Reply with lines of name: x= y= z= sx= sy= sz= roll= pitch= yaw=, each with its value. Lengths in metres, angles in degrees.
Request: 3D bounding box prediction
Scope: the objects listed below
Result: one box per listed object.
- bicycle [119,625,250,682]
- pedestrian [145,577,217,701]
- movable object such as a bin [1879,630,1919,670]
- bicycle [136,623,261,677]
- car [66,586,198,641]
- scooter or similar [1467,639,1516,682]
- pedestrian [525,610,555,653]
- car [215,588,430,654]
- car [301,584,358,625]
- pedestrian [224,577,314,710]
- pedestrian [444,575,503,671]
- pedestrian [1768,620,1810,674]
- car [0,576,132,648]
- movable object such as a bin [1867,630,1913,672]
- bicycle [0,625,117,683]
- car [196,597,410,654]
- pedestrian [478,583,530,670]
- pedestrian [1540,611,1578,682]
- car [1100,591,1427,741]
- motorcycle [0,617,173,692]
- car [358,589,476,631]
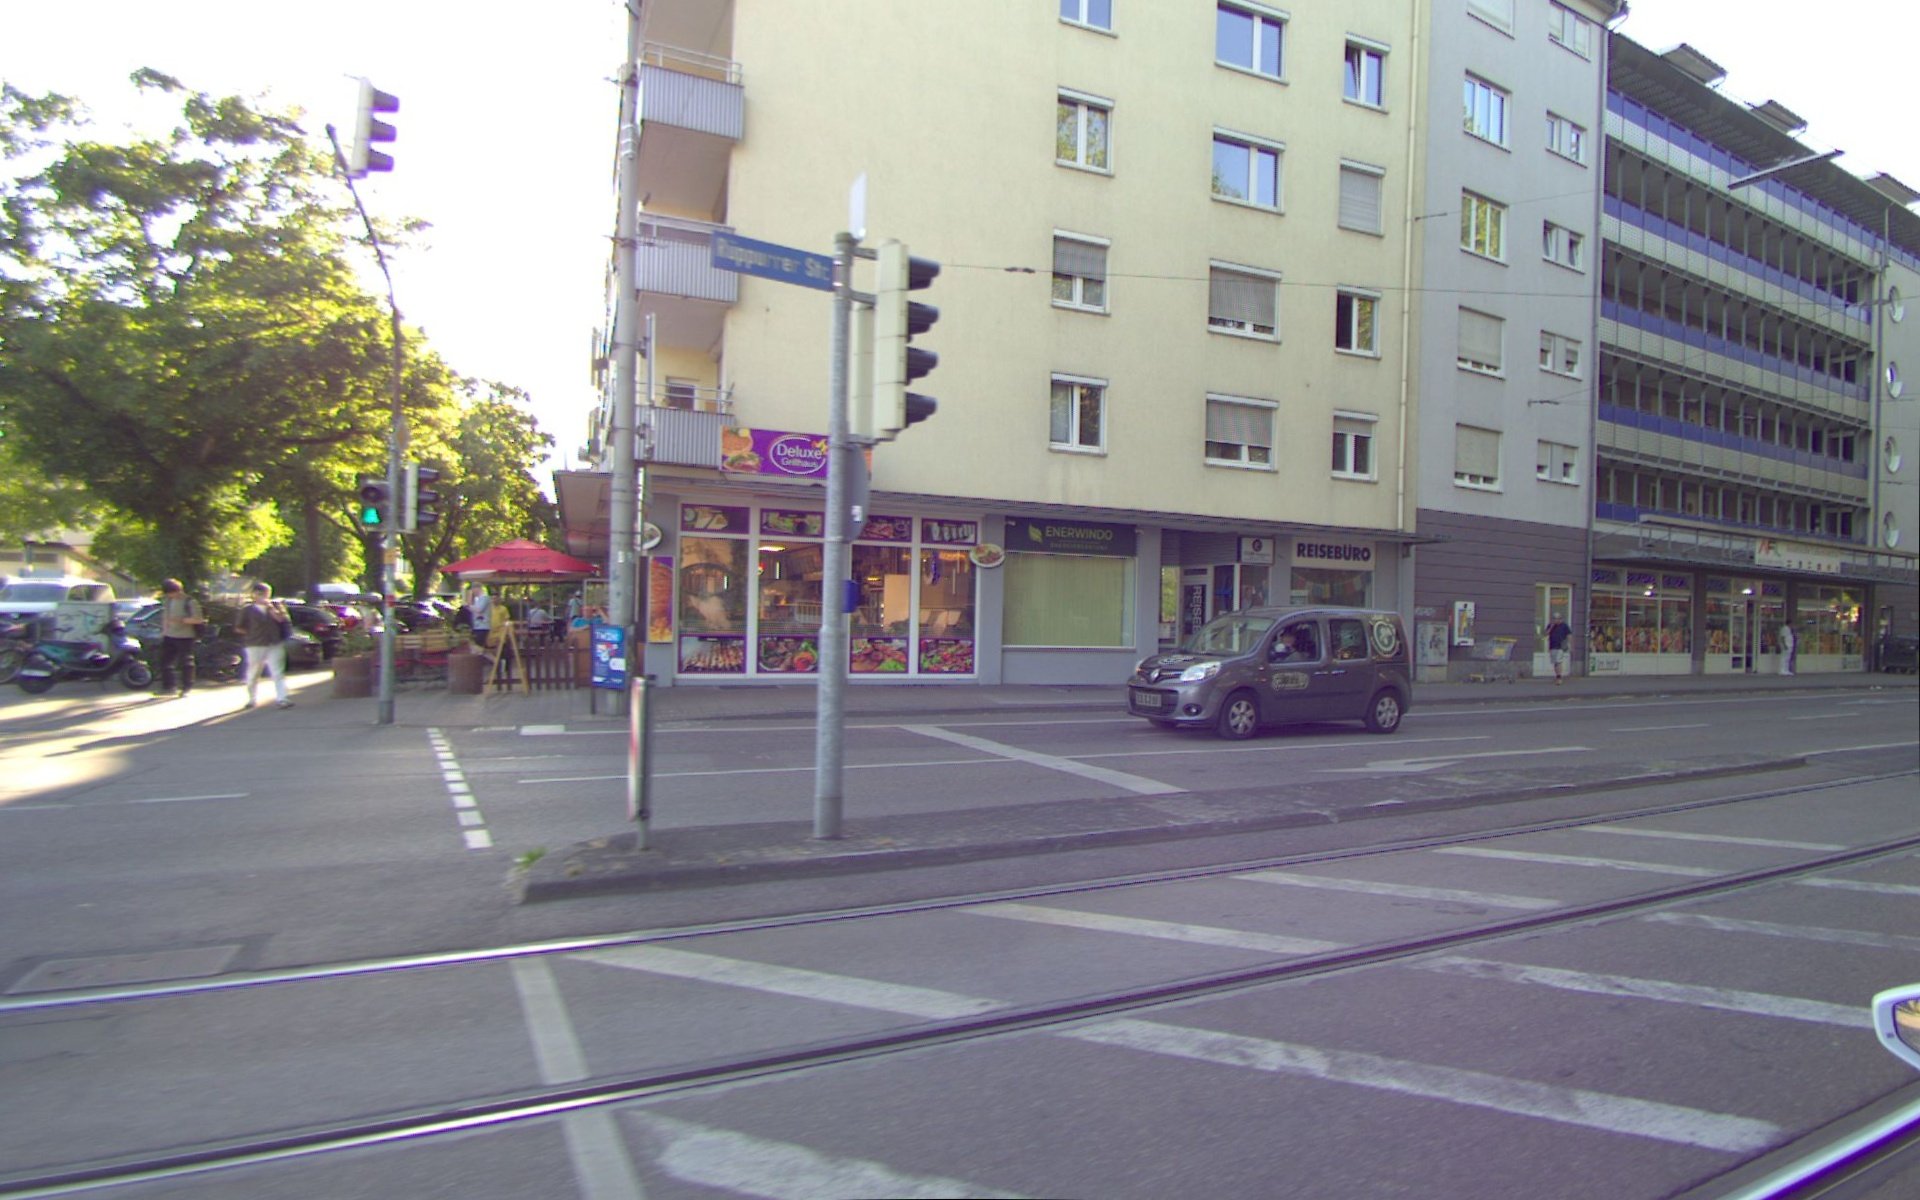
bicycle: x=-13.583 y=0.940 z=17.648 sx=1.704 sy=0.945 sz=0.559 roll=2 pitch=-1 yaw=-22
pedestrian: x=-11.556 y=0.568 z=14.899 sx=0.788 sy=1.774 sz=0.685 roll=2 pitch=-1 yaw=-40
movable object such as a bin: x=34.905 y=1.844 z=37.170 sx=1.241 sy=1.447 sz=1.008 roll=2 pitch=-1 yaw=-29
bicycle: x=-13.846 y=0.919 z=18.309 sx=1.704 sy=0.945 sz=0.559 roll=2 pitch=-1 yaw=-22
car: x=-30.089 y=0.498 z=36.738 sx=2.330 sy=1.818 sz=5.278 roll=2 pitch=-1 yaw=-24
scooter or similar: x=12.673 y=1.430 z=23.954 sx=1.418 sy=0.966 sz=0.463 roll=2 pitch=-1 yaw=-37
pedestrian: x=-12.380 y=0.915 z=29.644 sx=0.744 sy=1.216 sz=1.116 roll=1 pitch=-1 yaw=-21
car: x=-20.527 y=0.741 z=32.731 sx=5.562 sy=1.949 sz=2.348 roll=2 pitch=-3 yaw=-25
car: x=-41.071 y=0.320 z=65.557 sx=2.330 sy=2.548 sz=5.278 roll=2 pitch=-1 yaw=-24
pedestrian: x=-9.573 y=0.582 z=13.922 sx=0.825 sy=1.774 sz=0.692 roll=1 pitch=-1 yaw=28
pedestrian: x=-9.404 y=0.439 z=19.411 sx=0.904 sy=1.795 sz=0.806 roll=2 pitch=-1 yaw=-33
pedestrian: x=26.843 y=1.518 z=32.530 sx=1.017 sy=1.684 sz=1.221 roll=1 pitch=-1 yaw=41
car: x=-27.922 y=0.356 z=30.950 sx=2.330 sy=2.040 sz=5.278 roll=2 pitch=-1 yaw=-24
movable object such as a bin: x=33.708 y=1.834 z=36.403 sx=1.133 sy=1.447 sz=1.006 roll=2 pitch=-1 yaw=-34
bicycle: x=-15.738 y=0.931 z=17.317 sx=1.704 sy=0.945 sz=0.669 roll=2 pitch=-1 yaw=-22
car: x=-19.600 y=0.820 z=30.324 sx=5.037 sy=1.577 sz=2.348 roll=2 pitch=-3 yaw=-25
pedestrian: x=-9.689 y=0.555 z=21.378 sx=0.800 sy=1.795 sz=0.912 roll=1 pitch=0 yaw=-12
pedestrian: x=14.576 y=1.122 z=24.438 sx=0.656 sy=1.670 sz=0.622 roll=1 pitch=-1 yaw=44
car: x=4.290 y=0.861 z=14.133 sx=4.306 sy=1.830 sz=1.902 roll=1 pitch=-1 yaw=-27
motorcycle: x=-13.824 y=0.853 z=15.939 sx=1.933 sy=1.124 sz=0.831 roll=2 pitch=-1 yaw=-27
car: x=-27.573 y=0.533 z=51.232 sx=5.037 sy=1.949 sz=2.348 roll=2 pitch=-3 yaw=-25
